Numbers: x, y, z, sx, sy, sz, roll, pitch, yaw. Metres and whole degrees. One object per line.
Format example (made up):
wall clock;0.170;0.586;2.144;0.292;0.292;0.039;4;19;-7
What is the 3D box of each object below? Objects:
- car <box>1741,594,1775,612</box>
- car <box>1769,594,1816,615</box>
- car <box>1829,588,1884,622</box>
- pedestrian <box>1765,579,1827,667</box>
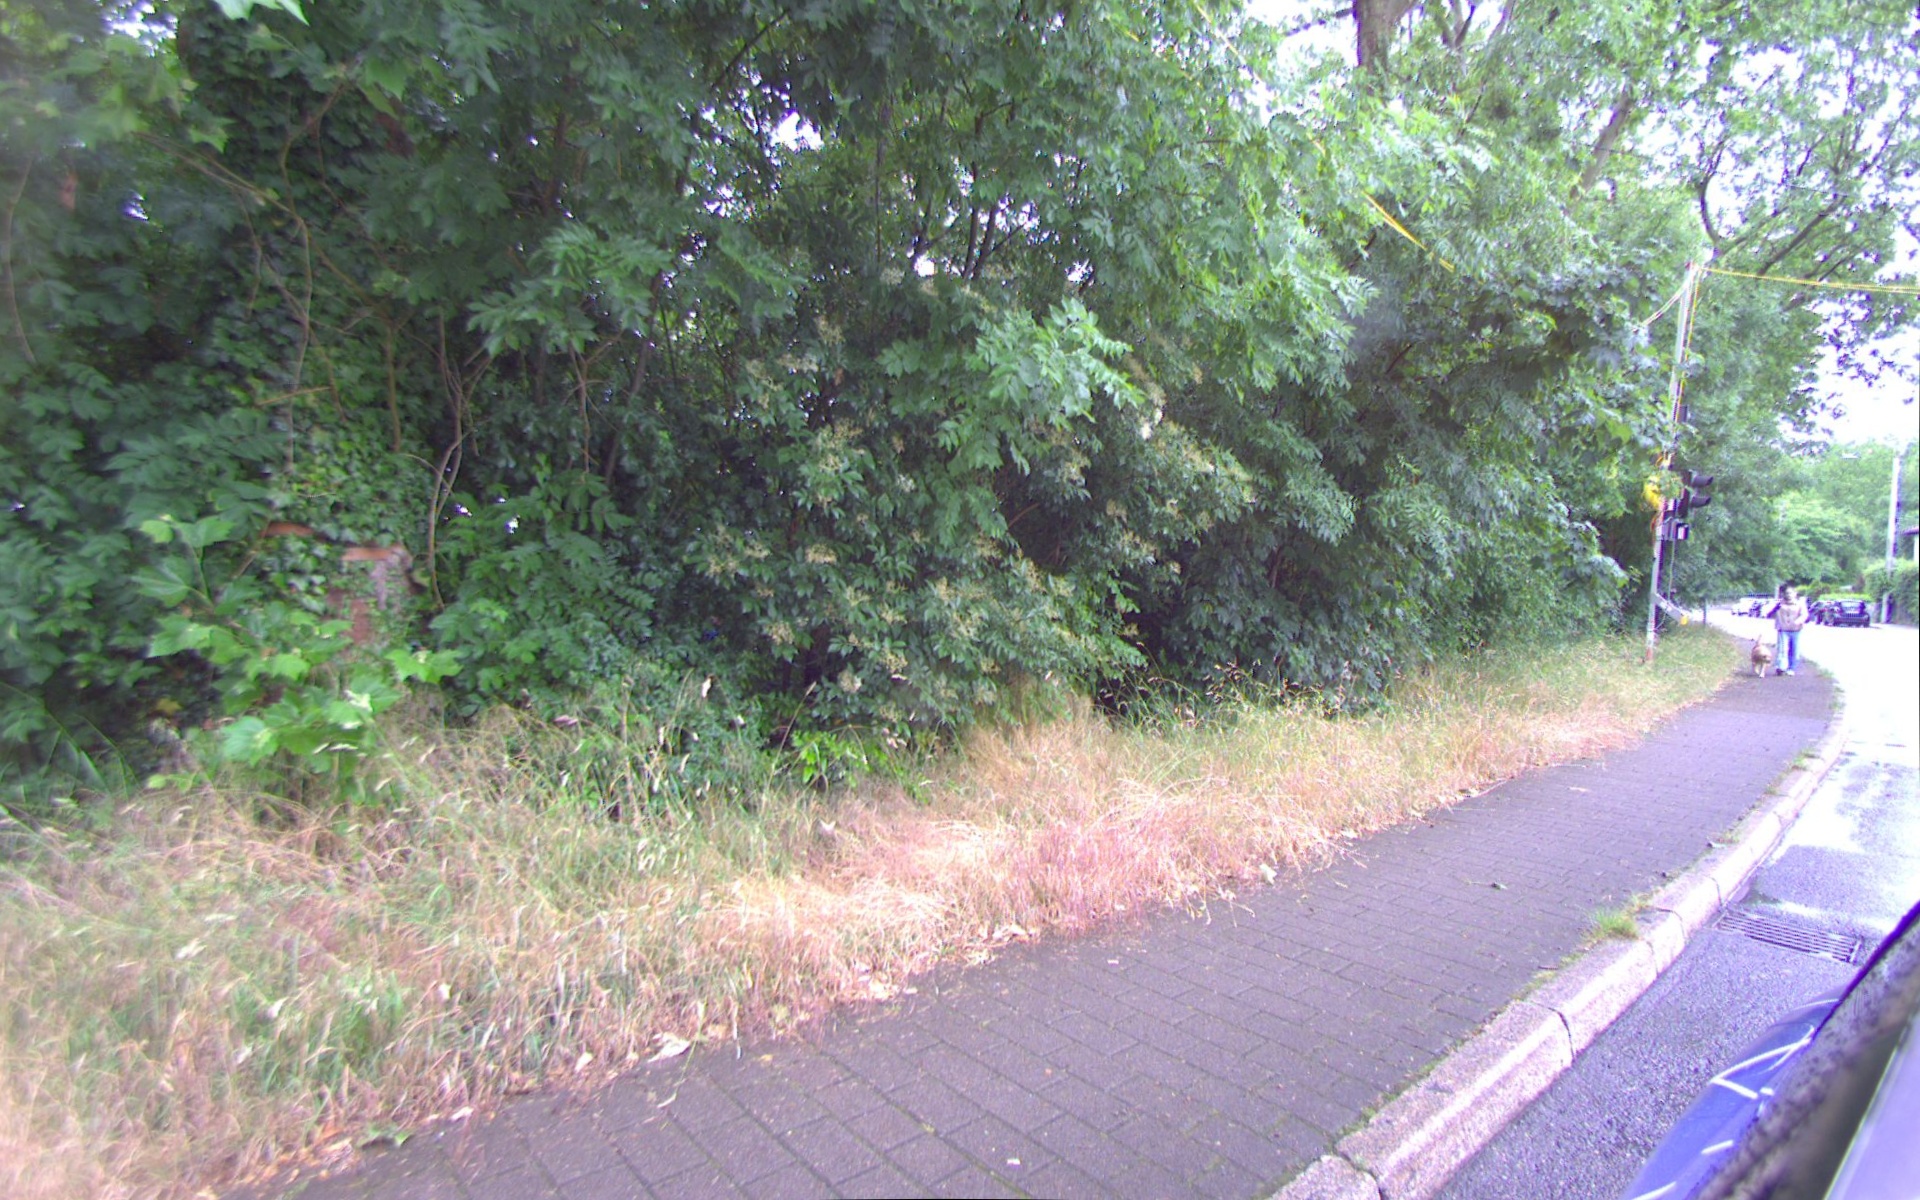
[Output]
car;64.951;0.217;82.377;1.676;1.445;3.734;1;1;31
car;60.757;0.295;73.924;2.055;1.504;4.509;1;1;33
car;51.070;0.281;57.712;1.869;1.848;4.075;1;1;35
pedestrian;14.969;0.399;18.125;0.771;1.518;0.734;0;-1;-42
